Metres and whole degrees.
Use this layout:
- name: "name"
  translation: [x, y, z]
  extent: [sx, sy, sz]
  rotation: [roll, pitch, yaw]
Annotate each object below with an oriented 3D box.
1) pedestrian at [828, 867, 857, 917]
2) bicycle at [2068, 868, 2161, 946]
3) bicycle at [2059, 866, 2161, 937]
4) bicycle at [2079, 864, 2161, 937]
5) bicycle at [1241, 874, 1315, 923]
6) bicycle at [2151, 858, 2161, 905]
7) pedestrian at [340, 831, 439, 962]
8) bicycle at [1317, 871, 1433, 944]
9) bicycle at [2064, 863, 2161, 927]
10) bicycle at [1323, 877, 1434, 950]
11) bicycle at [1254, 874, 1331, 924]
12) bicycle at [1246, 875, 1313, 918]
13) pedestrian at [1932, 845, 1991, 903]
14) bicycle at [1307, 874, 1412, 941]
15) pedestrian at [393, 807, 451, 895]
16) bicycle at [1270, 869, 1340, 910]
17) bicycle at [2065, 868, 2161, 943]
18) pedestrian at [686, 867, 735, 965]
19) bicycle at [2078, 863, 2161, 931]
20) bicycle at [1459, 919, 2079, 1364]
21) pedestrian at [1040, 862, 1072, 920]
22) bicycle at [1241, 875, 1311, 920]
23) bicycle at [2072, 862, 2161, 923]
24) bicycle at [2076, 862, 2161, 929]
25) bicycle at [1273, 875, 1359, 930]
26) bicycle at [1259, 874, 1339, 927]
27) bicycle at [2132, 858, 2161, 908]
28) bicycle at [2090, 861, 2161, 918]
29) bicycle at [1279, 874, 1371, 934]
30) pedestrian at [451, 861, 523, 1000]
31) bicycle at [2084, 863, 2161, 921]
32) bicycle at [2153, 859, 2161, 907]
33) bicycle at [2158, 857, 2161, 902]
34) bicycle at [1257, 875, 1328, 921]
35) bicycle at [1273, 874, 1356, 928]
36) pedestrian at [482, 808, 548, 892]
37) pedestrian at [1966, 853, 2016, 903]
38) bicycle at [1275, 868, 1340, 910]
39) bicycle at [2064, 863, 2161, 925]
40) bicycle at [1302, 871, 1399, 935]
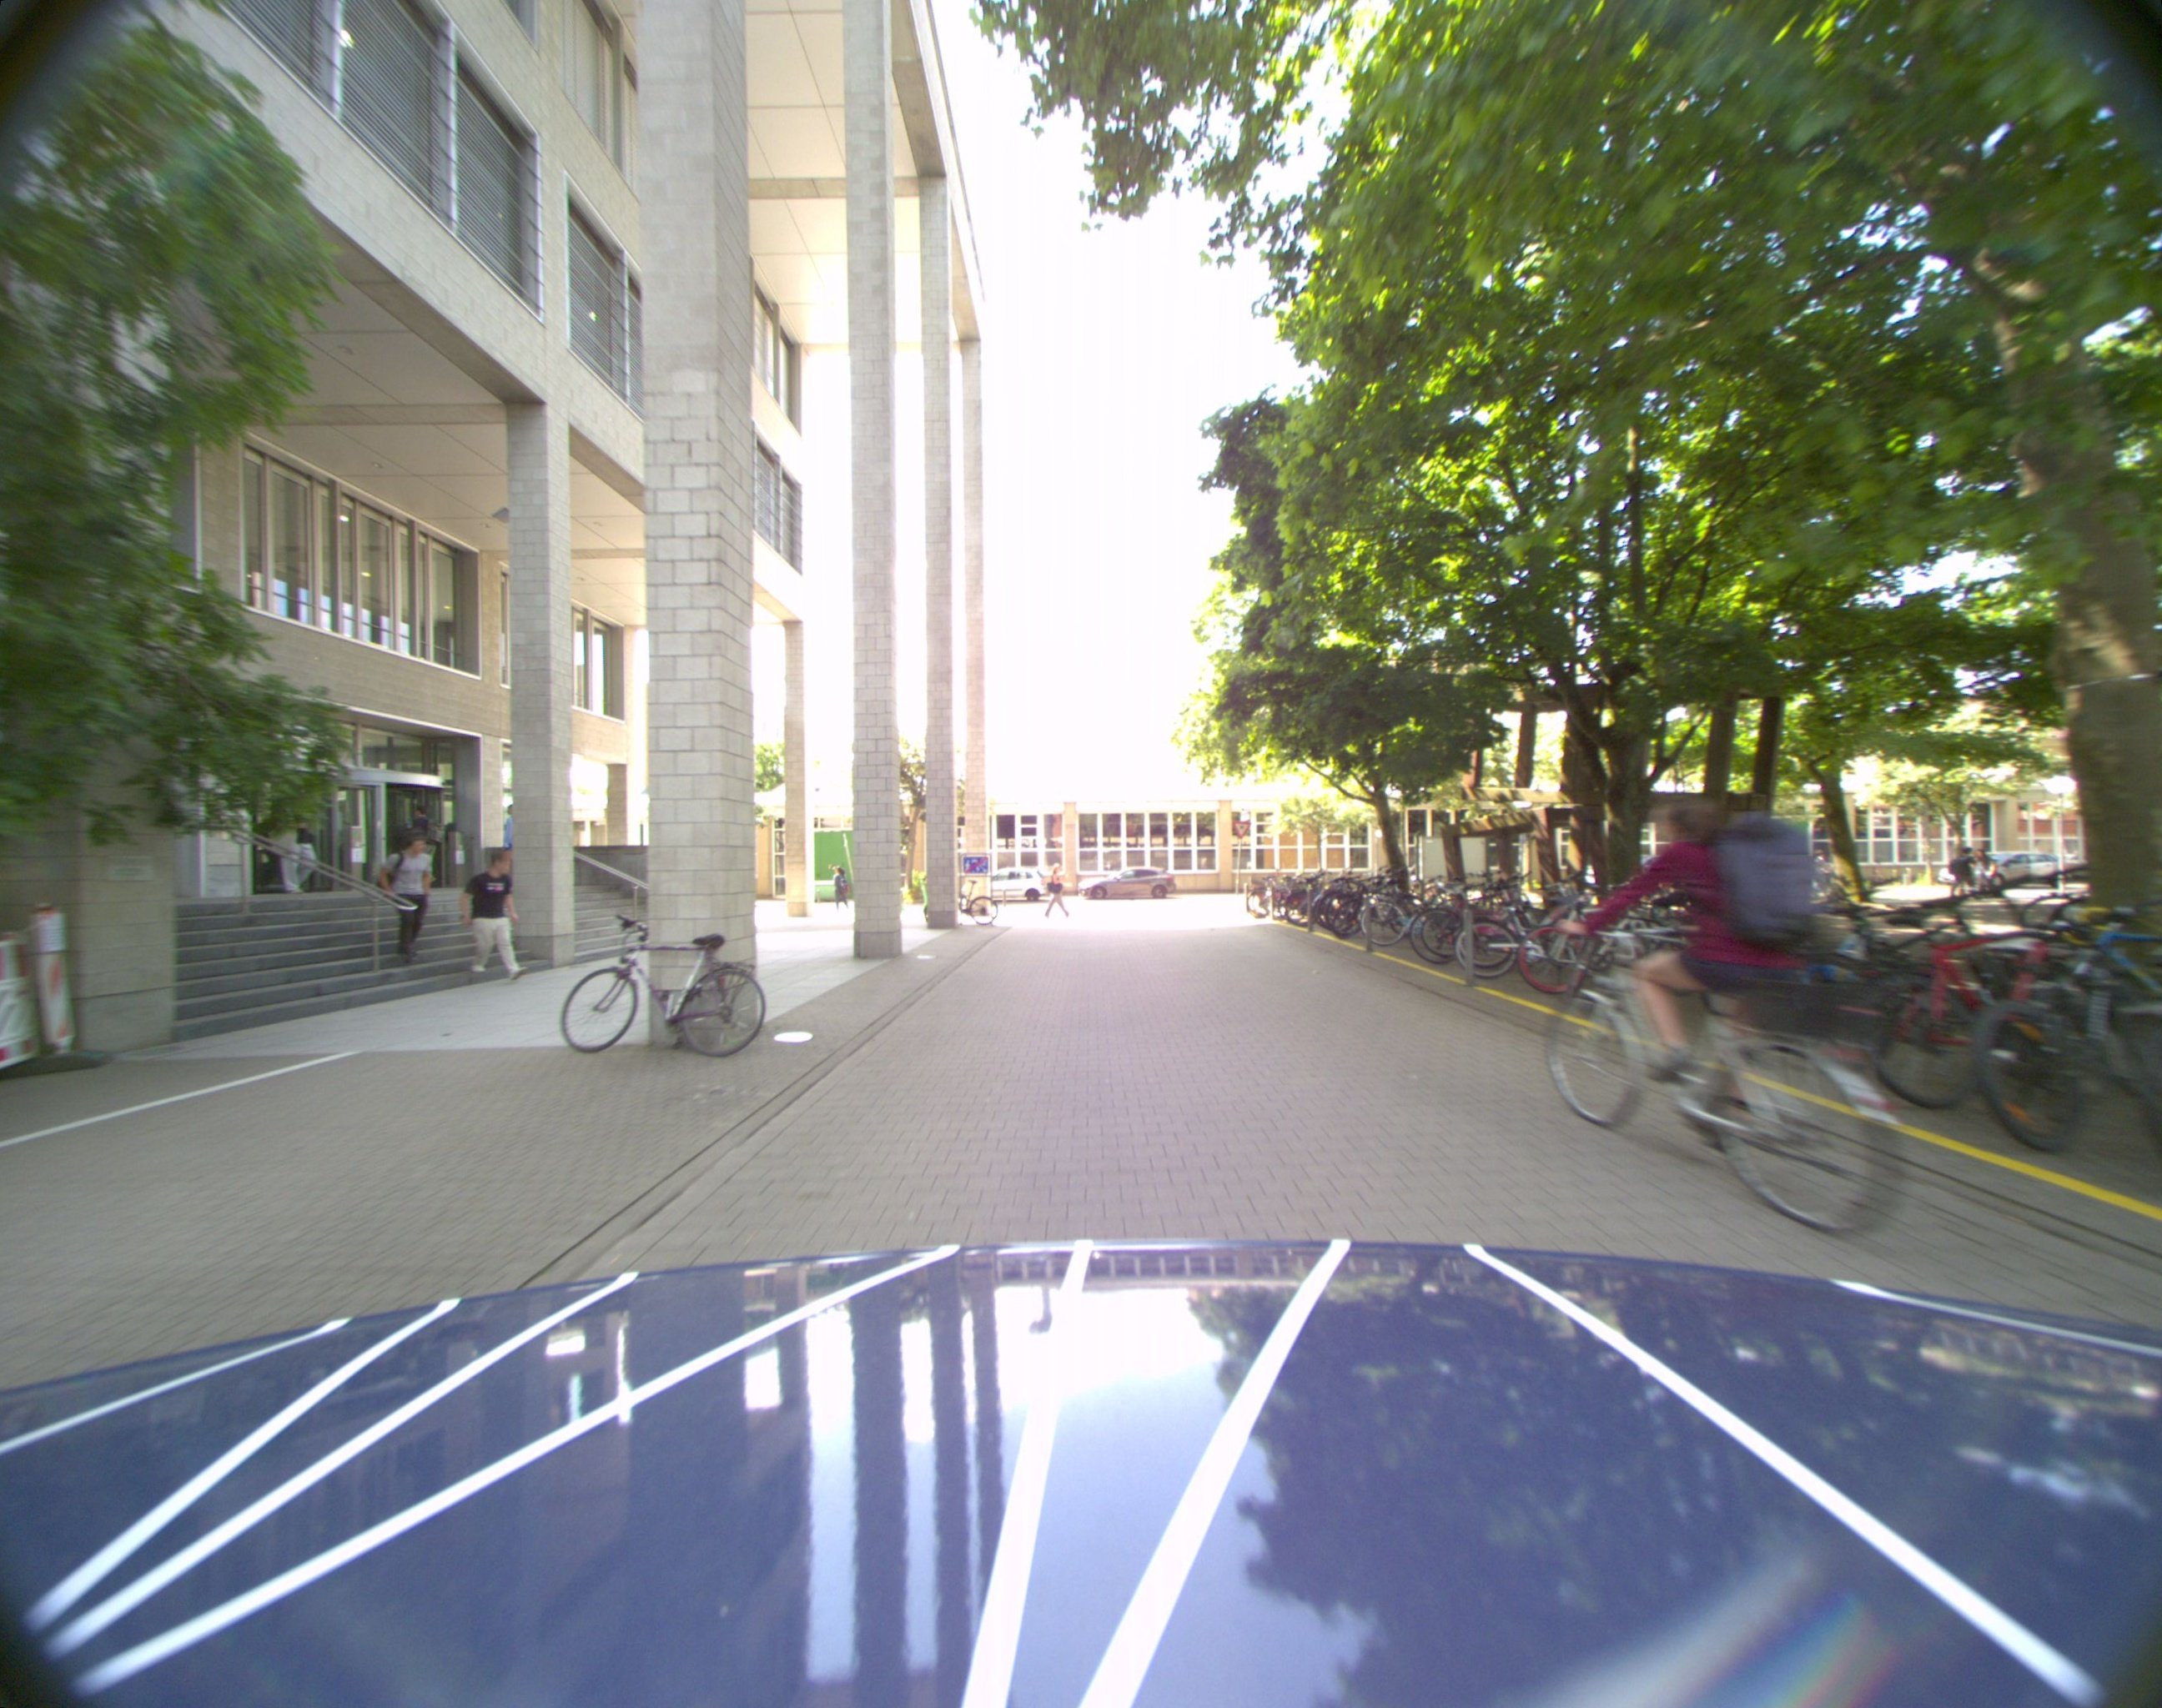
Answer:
- name: "pedestrian"
  translation: [-7.648, 1.216, 24.415]
  extent: [0.821, 1.565, 0.880]
  rotation: [-1, 0, -14]
- name: "bicycle"
  translation: [15.837, 0.768, 10.965]
  extent: [0.503, 1.101, 1.902]
  rotation: [-2, 0, -32]
- name: "bicycle"
  translation: [17.209, 0.754, 12.128]
  extent: [0.503, 1.101, 1.902]
  rotation: [-2, 0, -29]
- name: "bicycle"
  translation: [16.876, 0.714, 11.609]
  extent: [0.503, 1.101, 1.902]
  rotation: [-2, 0, -29]
- name: "bicycle"
  translation: [4.708, 1.068, 18.250]
  extent: [1.628, 1.101, 0.497]
  rotation: [-2, 1, 6]
- name: "bicycle"
  translation: [26.576, 0.650, 17.589]
  extent: [0.503, 1.101, 2.026]
  rotation: [-2, 0, -26]
- name: "pedestrian"
  translation: [-9.141, 0.550, 10.050]
  extent: [0.880, 1.645, 0.704]
  rotation: [-1, 0, 29]
- name: "bicycle"
  translation: [5.048, 0.913, 13.084]
  extent: [1.784, 1.155, 0.497]
  rotation: [-2, 1, -4]
- name: "bicycle"
  translation: [19.079, 0.725, 13.446]
  extent: [0.503, 1.101, 2.001]
  rotation: [-2, 0, -29]
- name: "bicycle"
  translation: [4.916, 0.969, 12.591]
  extent: [1.629, 1.101, 0.497]
  rotation: [-2, 1, -4]
- name: "bicycle"
  translation: [4.900, 1.038, 17.677]
  extent: [1.628, 1.101, 0.497]
  rotation: [-2, 1, 6]
- name: "bicycle"
  translation: [5.310, 1.134, 20.390]
  extent: [1.628, 1.101, 0.497]
  rotation: [-1, -2, 1]
- name: "pedestrian"
  translation: [26.083, 0.581, 22.513]
  extent: [0.873, 1.674, 0.728]
  rotation: [-1, 0, -3]
- name: "bicycle"
  translation: [5.010, 0.955, 13.720]
  extent: [1.629, 1.101, 0.645]
  rotation: [-2, 0, -4]
- name: "pedestrian"
  translation: [-13.722, -0.062, 15.834]
  extent: [0.684, 1.792, 0.590]
  rotation: [-1, 0, 3]
- name: "bicycle"
  translation: [6.176, 0.990, 20.951]
  extent: [1.742, 1.101, 0.591]
  rotation: [-2, -2, 29]
- name: "bicycle"
  translation: [16.255, 0.763, 11.320]
  extent: [0.503, 1.101, 1.902]
  rotation: [-2, 0, -32]
- name: "pedestrian"
  translation: [-6.589, 1.072, 13.513]
  extent: [0.676, 1.660, 0.897]
  rotation: [-1, 0, -32]
- name: "bicycle"
  translation: [17.819, 0.698, 12.349]
  extent: [0.503, 1.101, 1.902]
  rotation: [-2, 0, -29]
- name: "bicycle"
  translation: [2.671, 0.982, 3.415]
  extent: [0.773, 1.143, 2.108]
  rotation: [-5, 0, -2]
- name: "pedestrian"
  translation: [-0.718, 1.059, 21.909]
  extent: [0.882, 1.645, 0.703]
  rotation: [-1, 0, -3]
- name: "bicycle"
  translation: [4.995, 1.122, 19.499]
  extent: [1.628, 1.101, 0.497]
  rotation: [-1, -2, 1]
- name: "bicycle"
  translation: [20.212, 0.713, 14.196]
  extent: [0.503, 1.101, 2.001]
  rotation: [-2, 0, -29]
- name: "bicycle"
  translation: [18.270, 0.685, 12.653]
  extent: [0.503, 1.101, 2.001]
  rotation: [-2, 0, -29]
- name: "bicycle"
  translation: [4.935, 1.015, 15.995]
  extent: [1.628, 1.101, 0.497]
  rotation: [-2, 1, 6]
- name: "bicycle"
  translation: [4.893, 1.042, 17.113]
  extent: [1.628, 1.101, 0.629]
  rotation: [-2, 0, 5]
- name: "bicycle"
  translation: [24.828, 0.644, 16.662]
  extent: [0.503, 1.101, 2.026]
  rotation: [-2, 0, -26]
- name: "bicycle"
  translation: [21.676, 0.702, 15.029]
  extent: [0.503, 1.101, 2.025]
  rotation: [-2, 0, -32]
- name: "bicycle"
  translation: [4.883, 0.993, 15.275]
  extent: [1.628, 1.101, 0.691]
  rotation: [-2, 0, 6]
- name: "pedestrian"
  translation: [-8.142, 1.007, 10.413]
  extent: [0.704, 1.792, 0.880]
  rotation: [-1, -1, -42]
- name: "bicycle"
  translation: [21.063, 0.725, 14.650]
  extent: [0.503, 1.101, 2.025]
  rotation: [-2, 0, -32]
- name: "bicycle"
  translation: [25.906, 0.669, 17.081]
  extent: [0.503, 1.101, 2.026]
  rotation: [-2, 0, -26]
- name: "bicycle"
  translation: [27.143, 0.614, 17.869]
  extent: [0.503, 1.101, 2.026]
  rotation: [-2, 0, -26]
- name: "bicycle"
  translation: [5.198, 1.087, 18.718]
  extent: [1.627, 1.101, 0.498]
  rotation: [-2, -2, 13]
- name: "bicycle"
  translation: [5.059, 1.014, 16.541]
  extent: [1.628, 1.101, 0.506]
  rotation: [-2, 1, 6]
- name: "pedestrian"
  translation: [-11.776, -0.079, 15.827]
  extent: [0.865, 1.714, 0.644]
  rotation: [-1, 0, 0]
- name: "pedestrian"
  translation: [28.462, 0.751, 23.780]
  extent: [0.840, 1.511, 0.571]
  rotation: [-2, 0, 2]
- name: "bicycle"
  translation: [6.418, 0.988, 21.573]
  extent: [1.625, 1.152, 0.641]
  rotation: [-2, -2, 29]
- name: "bicycle"
  translation: [19.687, 0.729, 13.912]
  extent: [0.503, 1.101, 2.001]
  rotation: [-2, 0, -29]
- name: "bicycle"
  translation: [5.123, 0.925, 14.487]
  extent: [1.628, 1.144, 0.497]
  rotation: [-2, 1, 1]
